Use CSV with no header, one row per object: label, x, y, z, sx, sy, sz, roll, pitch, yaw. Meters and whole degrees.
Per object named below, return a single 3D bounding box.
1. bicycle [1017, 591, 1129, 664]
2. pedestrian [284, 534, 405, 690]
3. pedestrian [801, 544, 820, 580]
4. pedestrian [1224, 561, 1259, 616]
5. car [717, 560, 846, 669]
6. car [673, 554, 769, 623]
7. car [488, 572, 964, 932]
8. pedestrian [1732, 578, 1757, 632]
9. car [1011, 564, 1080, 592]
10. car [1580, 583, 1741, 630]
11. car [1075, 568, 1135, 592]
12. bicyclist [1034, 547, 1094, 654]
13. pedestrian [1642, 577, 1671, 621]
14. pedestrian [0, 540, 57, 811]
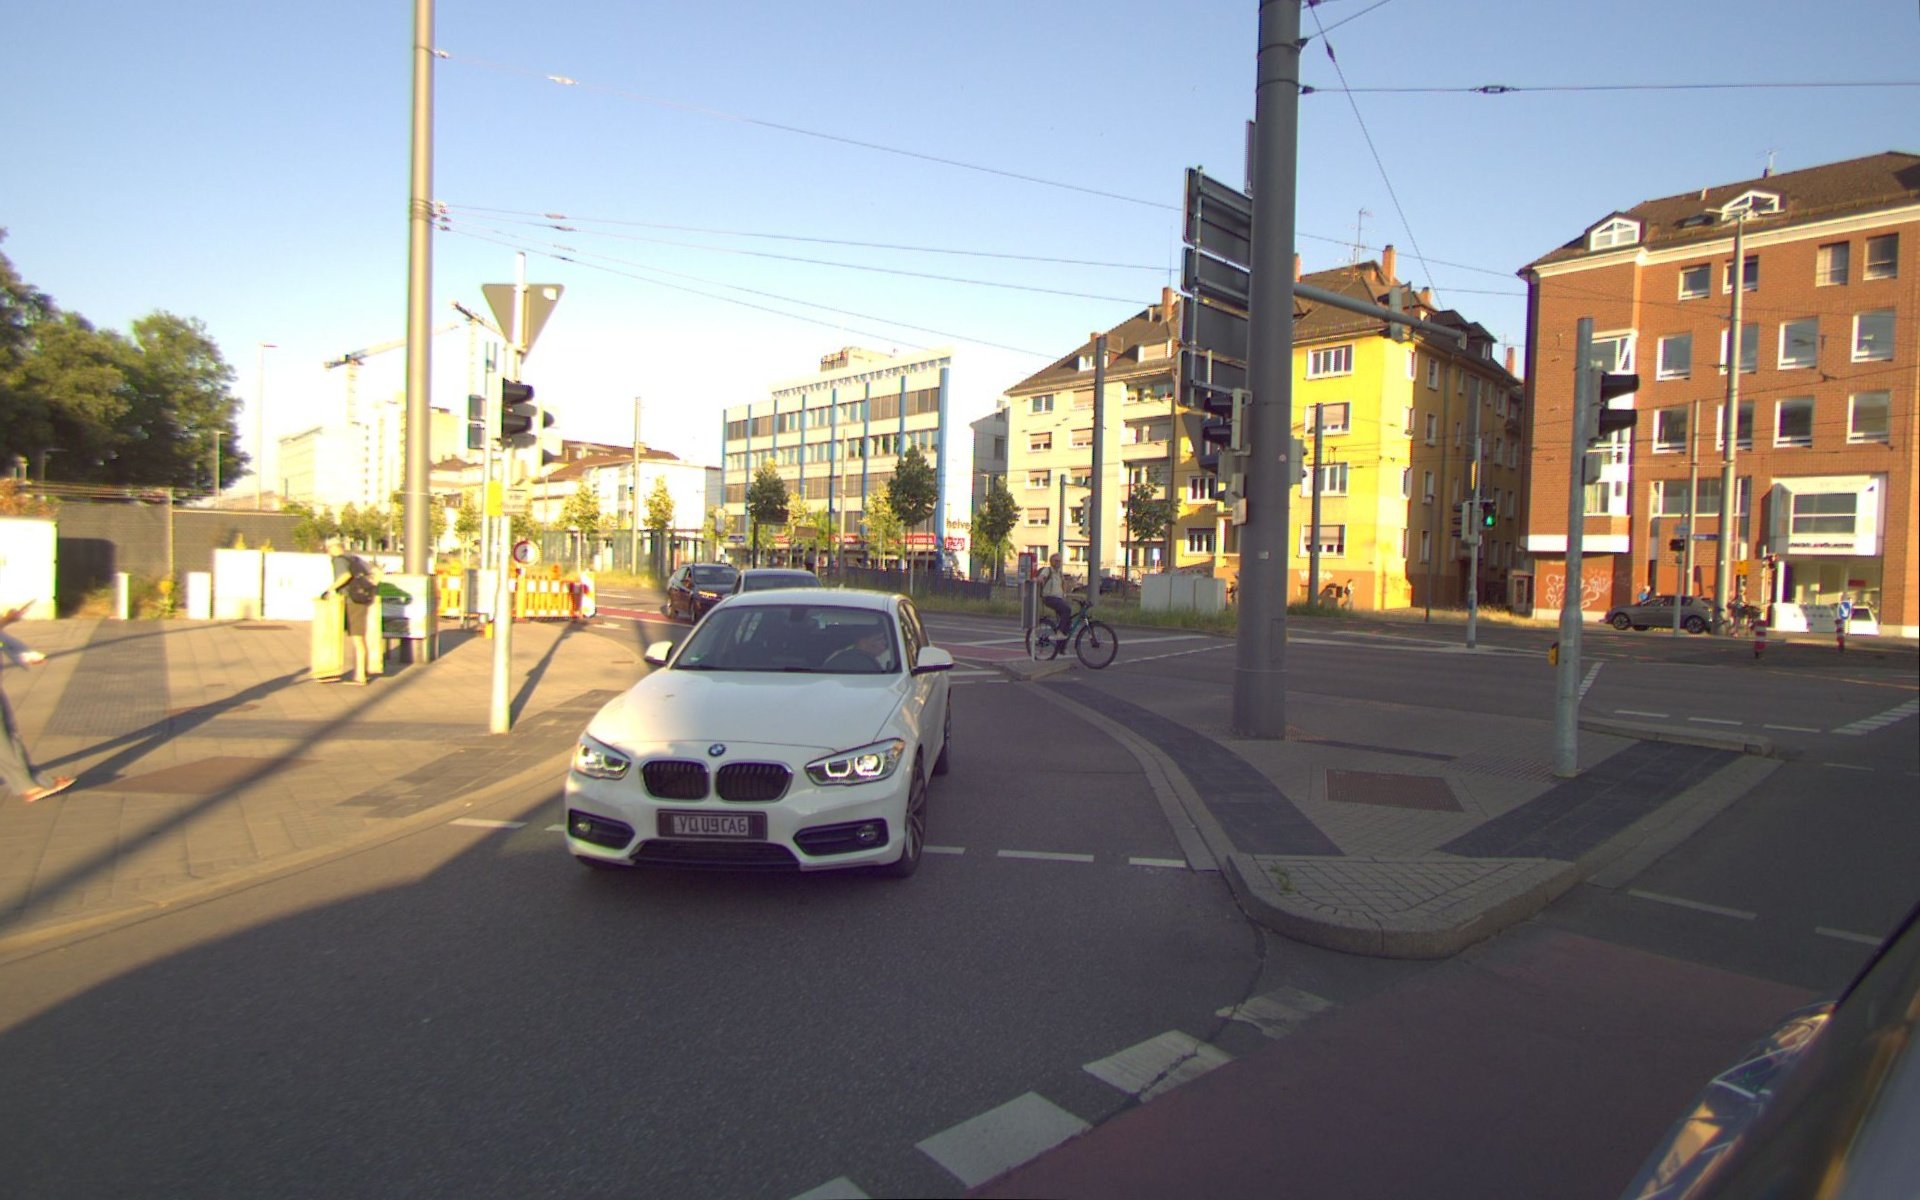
bicycle,1.800,0.415,16.317,0.586,1.035,1.844,1,2,-42
pedestrian,-7.320,0.122,12.067,0.807,1.757,0.943,2,1,6
pedestrian,-6.825,-1.720,46.253,0.555,1.610,0.690,1,2,-39
pedestrian,8.259,-0.343,29.715,0.693,1.560,0.638,1,2,-26
car,-3.063,0.137,16.803,1.645,1.580,3.736,-1,2,-17
car,-6.392,-0.352,26.717,1.903,1.637,4.403,1,2,-21
car,-0.996,0.578,6.421,1.881,1.423,4.303,1,2,2
pedestrian,25.686,0.147,33.135,0.510,1.729,0.415,2,1,27
car,5.763,-1.489,68.369,2.084,1.726,4.339,0,2,-44
car,26.779,0.220,38.860,1.880,1.522,4.706,1,2,-33
car,9.308,-1.292,65.187,1.711,1.437,3.535,0,2,-44
bicyclist,1.691,-0.010,16.448,0.586,1.691,0.747,0,2,-43
pedestrian,29.543,-0.054,42.911,0.869,1.800,0.904,3,2,41
pedestrian,-6.094,0.444,6.314,0.585,1.633,0.690,1,2,-34
